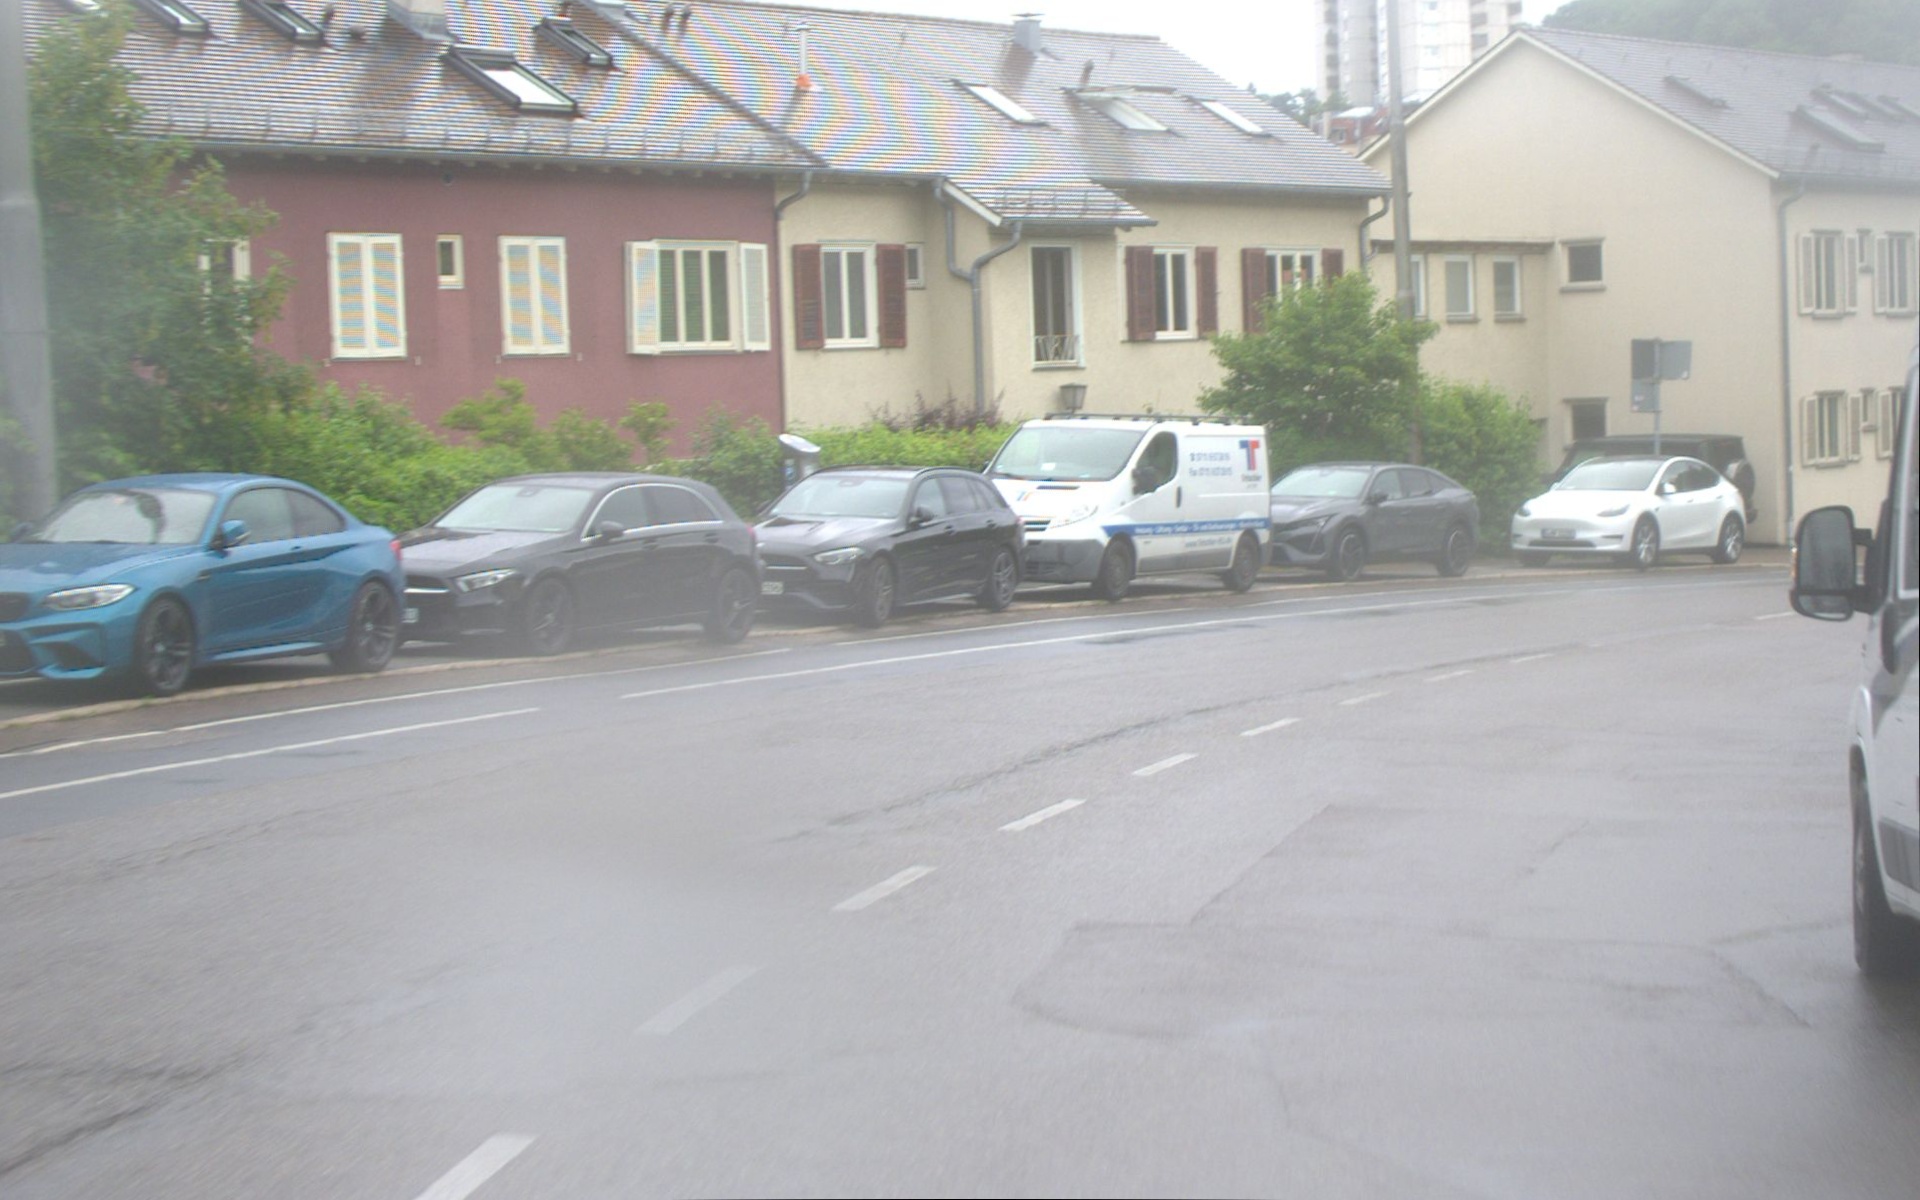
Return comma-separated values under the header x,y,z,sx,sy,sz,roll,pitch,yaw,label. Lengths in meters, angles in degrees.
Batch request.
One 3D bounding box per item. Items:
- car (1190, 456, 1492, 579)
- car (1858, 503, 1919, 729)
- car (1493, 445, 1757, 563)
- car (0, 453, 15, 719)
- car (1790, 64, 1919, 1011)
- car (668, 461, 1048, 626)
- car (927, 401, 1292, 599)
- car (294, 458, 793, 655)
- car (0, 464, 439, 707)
x,y,z,sx,sy,sz,roll,pitch,yaw,label
4.901,-1.092,43.745,1.812,1.471,4.513,2,3,36,car
7.689,0.060,24.462,1.681,1.478,4.196,2,2,26,car
9.776,-1.432,50.285,1.933,1.625,4.668,2,3,37,car
-7.114,-0.013,18.592,1.923,1.571,4.385,2,3,15,car
3.683,-0.166,9.560,2.099,2.533,5.618,-2,1,9,car
-0.906,-0.608,33.541,1.811,1.471,4.516,2,3,26,car
1.764,-1.165,38.701,1.851,2.071,5.012,2,3,32,car
-3.341,-0.429,28.503,1.811,1.471,4.515,2,3,29,car
-5.377,-0.181,23.467,1.701,1.400,4.469,2,3,19,car
